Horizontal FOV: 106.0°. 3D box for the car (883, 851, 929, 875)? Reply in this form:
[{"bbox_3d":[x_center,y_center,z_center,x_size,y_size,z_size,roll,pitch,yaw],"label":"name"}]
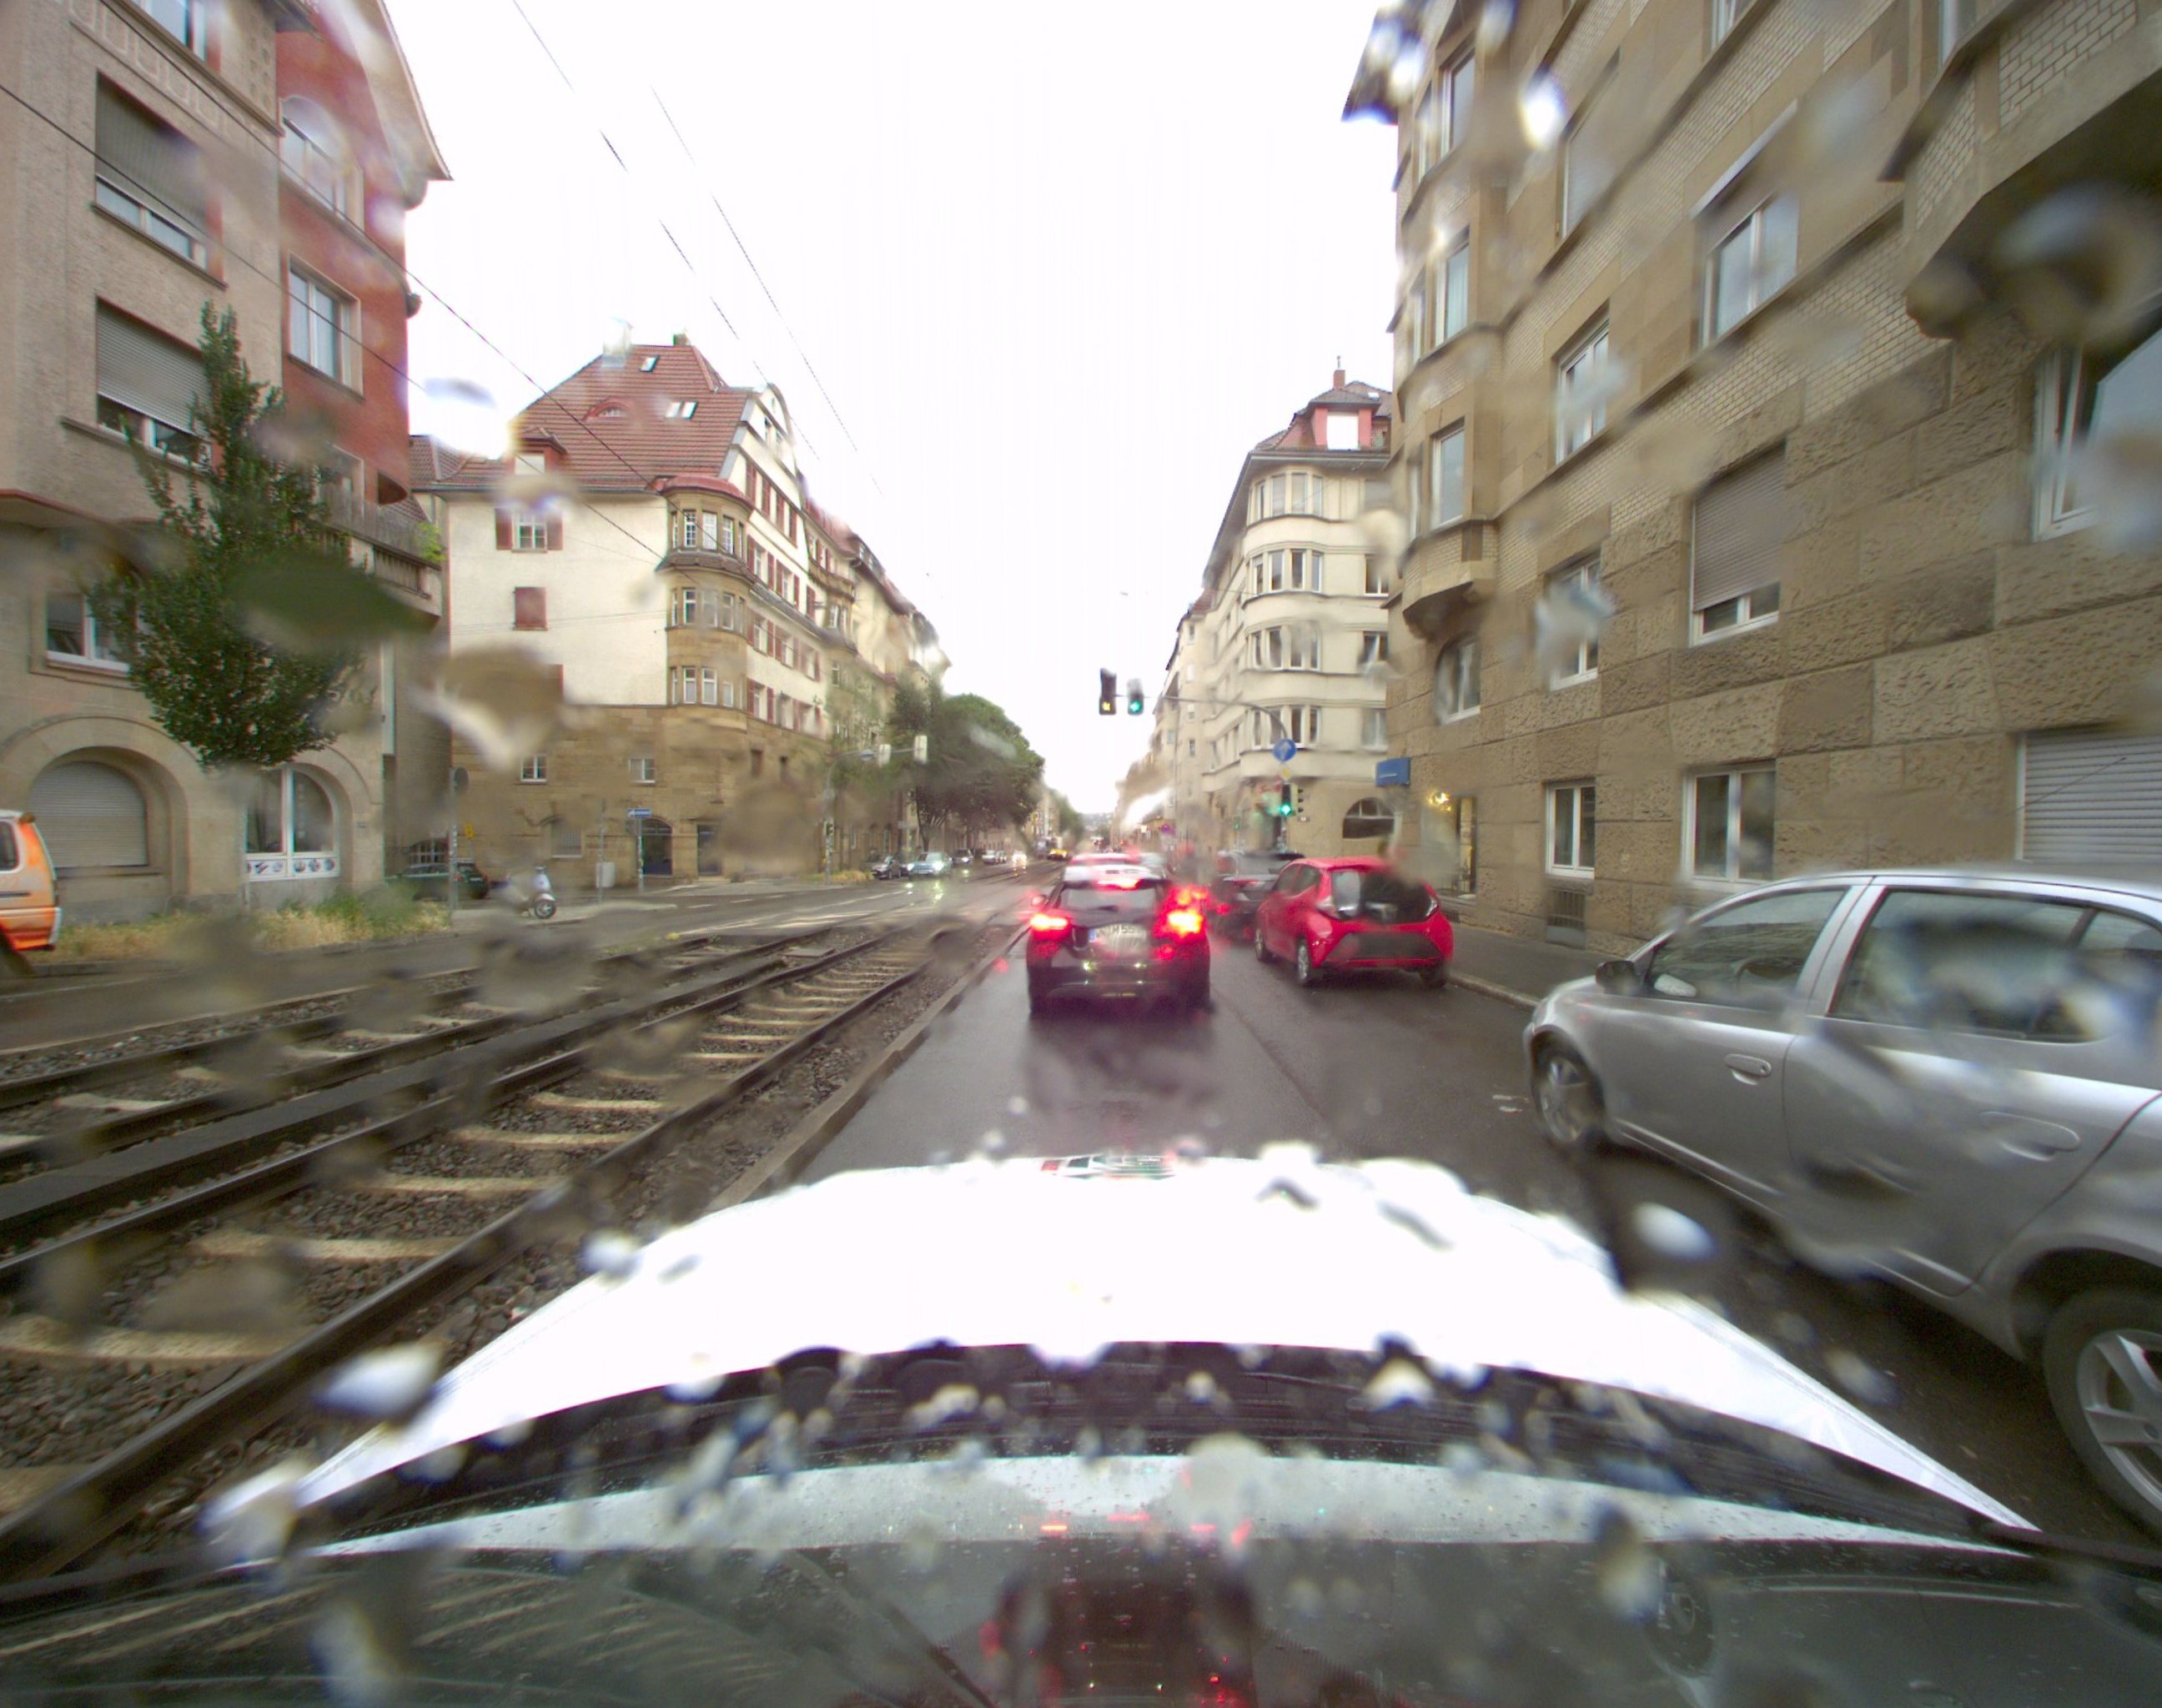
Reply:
[{"bbox_3d":[-10.999,0.566,51.502,1.775,1.460,4.978,0,-1,0],"label":"car"}]

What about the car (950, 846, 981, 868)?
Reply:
[{"bbox_3d":[-10.214,0.238,72.349,1.946,1.742,4.779,3,1,0],"label":"car"}]

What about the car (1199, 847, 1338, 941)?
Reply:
[{"bbox_3d":[3.434,0.674,15.655,1.860,1.549,3.992,1,0,2],"label":"car"}]

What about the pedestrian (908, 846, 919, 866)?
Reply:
[{"bbox_3d":[-13.924,0.129,67.791,0.726,1.663,0.771,0,0,1],"label":"pedestrian"}]

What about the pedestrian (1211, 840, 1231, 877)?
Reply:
[{"bbox_3d":[6.421,0.223,37.393,0.801,1.687,0.754,0,-1,1],"label":"pedestrian"}]

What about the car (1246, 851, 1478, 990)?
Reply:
[{"bbox_3d":[3.337,0.707,10.381,1.700,1.453,3.531,1,0,-1],"label":"car"}]

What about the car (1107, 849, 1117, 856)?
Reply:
[{"bbox_3d":[6.566,-0.257,170.949,1.879,1.525,4.249,1,0,3],"label":"car"}]

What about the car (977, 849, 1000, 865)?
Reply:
[{"bbox_3d":[-10.125,0.295,89.623,1.954,1.605,4.329,1,1,1],"label":"car"}]

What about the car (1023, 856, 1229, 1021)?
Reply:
[{"bbox_3d":[0.463,0.758,9.207,1.828,1.453,3.903,0,0,2],"label":"car"}]

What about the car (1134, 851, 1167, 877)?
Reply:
[{"bbox_3d":[4.111,0.610,48.871,1.705,1.468,4.775,0,-1,2],"label":"car"}]

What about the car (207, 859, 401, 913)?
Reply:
[{"bbox_3d":[-22.465,0.897,23.645,3.972,1.467,1.747,0,-1,1],"label":"car"}]

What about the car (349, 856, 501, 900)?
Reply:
[{"bbox_3d":[-24.454,0.874,30.467,3.977,1.574,1.998,0,-1,-2],"label":"car"}]

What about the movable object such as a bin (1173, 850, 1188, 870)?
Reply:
[{"bbox_3d":[7.475,0.428,61.157,1.014,1.468,1.323,0,-1,1],"label":"movable object such as a bin"}]

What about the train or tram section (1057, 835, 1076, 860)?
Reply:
[{"bbox_3d":[-2.463,-1.179,142.591,2.736,4.061,15.663,0,0,1],"label":"train or tram section"}]

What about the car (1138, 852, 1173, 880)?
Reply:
[{"bbox_3d":[3.910,0.610,43.504,1.703,1.410,4.821,-1,-1,3],"label":"car"}]

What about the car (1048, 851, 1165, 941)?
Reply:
[{"bbox_3d":[0.510,0.729,16.128,1.986,1.525,4.247,1,0,2],"label":"car"}]

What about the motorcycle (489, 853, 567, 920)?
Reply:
[{"bbox_3d":[-12.023,0.686,17.695,1.761,1.375,0.772,-1,-1,33],"label":"motorcycle"}]

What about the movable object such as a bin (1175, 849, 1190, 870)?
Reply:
[{"bbox_3d":[7.407,0.415,59.601,0.976,1.468,1.273,0,-1,1],"label":"movable object such as a bin"}]

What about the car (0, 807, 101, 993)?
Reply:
[{"bbox_3d":[-12.089,0.473,7.066,1.722,1.930,4.476,0,-1,0],"label":"car"}]

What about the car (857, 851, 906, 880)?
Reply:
[{"bbox_3d":[-11.197,0.640,45.946,1.684,1.529,4.175,0,-1,0],"label":"car"}]

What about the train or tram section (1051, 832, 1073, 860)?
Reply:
[{"bbox_3d":[-2.800,-1.163,126.309,2.736,4.061,17.216,0,0,1],"label":"train or tram section"}]

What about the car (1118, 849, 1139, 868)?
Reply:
[{"bbox_3d":[4.352,0.404,74.463,1.833,1.608,4.765,-1,-1,4],"label":"car"}]

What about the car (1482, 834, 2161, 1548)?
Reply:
[{"bbox_3d":[3.077,0.687,2.965,1.588,1.487,3.524,-1,0,2],"label":"car"}]

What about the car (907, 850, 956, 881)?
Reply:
[{"bbox_3d":[-8.224,0.614,45.071,1.915,1.617,4.128,0,-1,0],"label":"car"}]

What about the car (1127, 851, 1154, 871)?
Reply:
[{"bbox_3d":[4.483,0.531,61.756,1.783,1.385,4.396,0,-1,1],"label":"car"}]

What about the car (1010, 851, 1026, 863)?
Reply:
[{"bbox_3d":[-8.037,0.387,103.909,1.775,1.502,4.062,0,-1,0],"label":"car"}]
